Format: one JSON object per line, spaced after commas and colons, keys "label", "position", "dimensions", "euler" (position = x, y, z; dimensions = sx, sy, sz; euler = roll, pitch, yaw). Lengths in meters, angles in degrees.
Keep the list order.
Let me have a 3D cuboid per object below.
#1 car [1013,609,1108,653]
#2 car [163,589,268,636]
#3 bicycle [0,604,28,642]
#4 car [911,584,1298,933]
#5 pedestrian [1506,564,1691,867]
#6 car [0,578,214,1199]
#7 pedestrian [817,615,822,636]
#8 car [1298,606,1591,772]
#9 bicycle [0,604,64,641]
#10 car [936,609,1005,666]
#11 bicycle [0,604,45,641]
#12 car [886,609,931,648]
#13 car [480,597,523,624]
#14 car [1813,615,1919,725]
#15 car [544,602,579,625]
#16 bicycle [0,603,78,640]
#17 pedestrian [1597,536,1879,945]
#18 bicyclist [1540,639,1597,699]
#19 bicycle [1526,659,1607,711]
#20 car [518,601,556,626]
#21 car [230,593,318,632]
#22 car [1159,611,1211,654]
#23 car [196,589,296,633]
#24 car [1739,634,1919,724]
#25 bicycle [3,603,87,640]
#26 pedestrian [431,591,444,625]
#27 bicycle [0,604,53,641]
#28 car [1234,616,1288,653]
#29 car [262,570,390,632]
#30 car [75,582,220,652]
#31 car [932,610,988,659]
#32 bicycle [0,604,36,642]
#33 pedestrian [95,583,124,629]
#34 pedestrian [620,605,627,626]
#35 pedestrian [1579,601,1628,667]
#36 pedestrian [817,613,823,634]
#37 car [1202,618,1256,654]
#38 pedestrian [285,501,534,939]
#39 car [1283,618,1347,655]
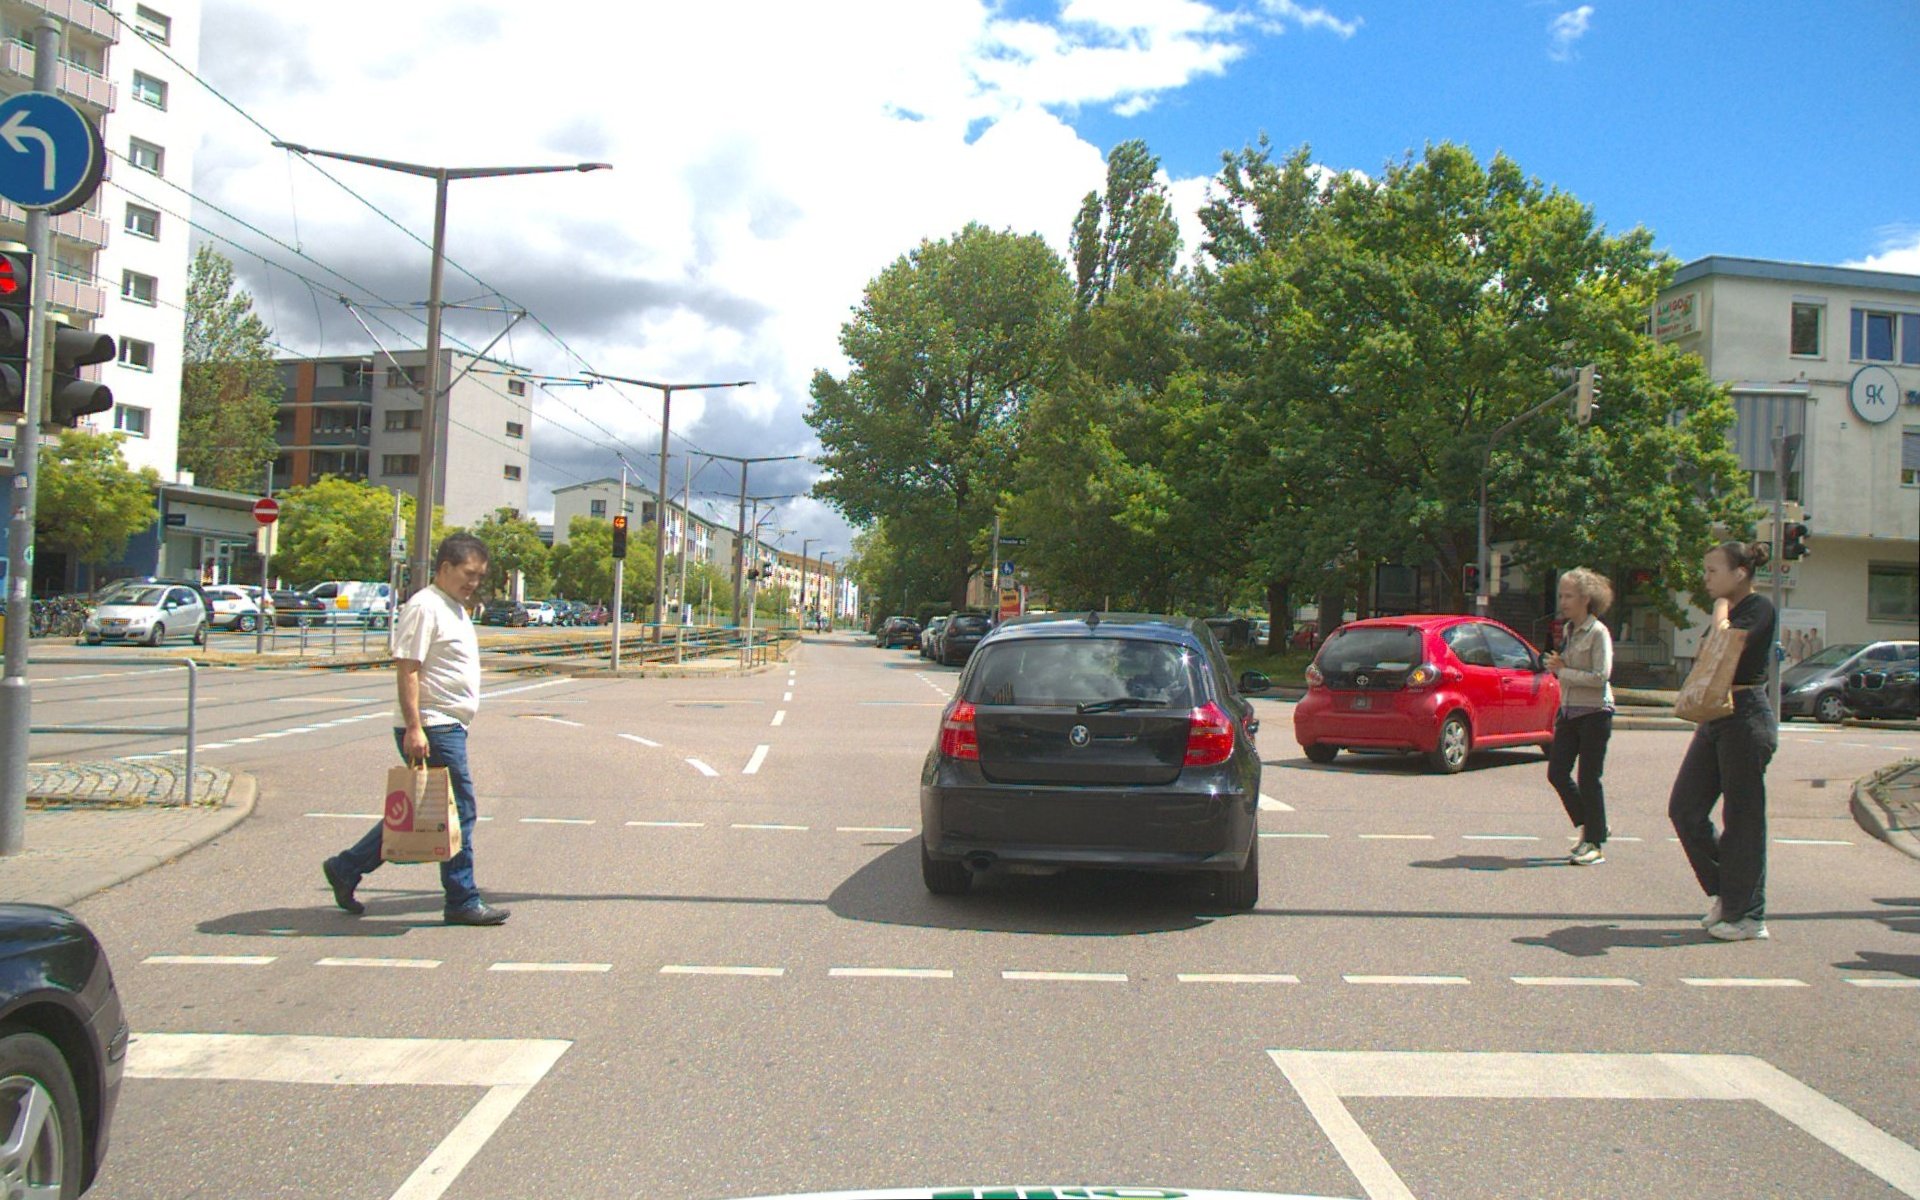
{"label": "car", "position": [4.553, 1.406, 75.000], "dimensions": [3.933, 1.855, 1.766], "euler": [1, 0, -23]}
{"label": "car", "position": [-26.678, 0.443, 59.235], "dimensions": [4.144, 1.597, 1.949], "euler": [1, 0, 43]}
{"label": "bicycle", "position": [-24.719, 0.571, 41.846], "dimensions": [1.909, 0.951, 0.494], "euler": [1, -1, -7]}
{"label": "car", "position": [0.925, 0.706, 9.467], "dimensions": [1.715, 1.513, 4.003], "euler": [1, 0, 8]}
{"label": "pedestrian", "position": [3.777, 0.652, 9.862], "dimensions": [0.932, 1.703, 0.871], "euler": [0, 0, 14]}
{"label": "car", "position": [-2.592, 0.683, 1.595], "dimensions": [1.693, 1.487, 4.543], "euler": [1, 0, -1]}
{"label": "pedestrian", "position": [-11.185, 2.006, 131.544], "dimensions": [0.328, 1.656, 0.356], "euler": [1, 0, -18]}
{"label": "car", "position": [4.919, 0.830, 16.601], "dimensions": [1.521, 1.466, 3.174], "euler": [1, 0, 44]}
{"label": "bicycle", "position": [-24.879, 0.580, 43.836], "dimensions": [1.909, 0.951, 0.494], "euler": [1, -1, -7]}
{"label": "car", "position": [0.313, 1.204, 53.427], "dimensions": [2.108, 1.713, 3.999], "euler": [1, -1, -1]}
{"label": "bicycle", "position": [-24.823, 0.575, 42.815], "dimensions": [1.909, 0.951, 0.494], "euler": [1, -1, -7]}
{"label": "car", "position": [-2.342, 1.286, 76.195], "dimensions": [1.953, 1.713, 3.999], "euler": [1, 0, -1]}
{"label": "car", "position": [-25.582, 0.581, 92.397], "dimensions": [1.728, 1.419, 3.994], "euler": [1, 0, -7]}
{"label": "car", "position": [17.084, 1.184, 27.881], "dimensions": [4.472, 1.747, 1.997], "euler": [1, 0, -8]}
{"label": "car", "position": [-25.584, 0.871, 106.380], "dimensions": [1.728, 1.419, 3.994], "euler": [1, 0, -7]}
{"label": "bicycle", "position": [-24.781, 0.584, 44.383], "dimensions": [1.909, 0.951, 0.494], "euler": [1, -1, -7]}
{"label": "pedestrian", "position": [3.614, 0.615, 7.732], "dimensions": [0.917, 1.796, 0.770], "euler": [0, 0, -12]}
{"label": "bicyclist", "position": [11.064, 1.247, 30.079], "dimensions": [0.775, 1.040, 0.636], "euler": [2, 0, -1]}
{"label": "bicycle", "position": [11.058, 1.545, 30.224], "dimensions": [0.775, 0.833, 1.807], "euler": [2, 0, -1]}
{"label": "car", "position": [-25.501, 0.798, 99.789], "dimensions": [1.728, 1.419, 3.994], "euler": [1, 0, -7]}
{"label": "car", "position": [-27.239, 0.484, 65.606], "dimensions": [1.777, 1.445, 4.148], "euler": [1, 0, -45]}
{"label": "car", "position": [10.344, 1.481, 76.169], "dimensions": [1.598, 1.842, 4.029], "euler": [1, 0, -4]}
{"label": "car", "position": [-26.985, 0.420, 62.477], "dimensions": [4.144, 1.564, 1.949], "euler": [1, 0, 43]}
{"label": "car", "position": [17.231, 1.490, 31.605], "dimensions": [3.838, 1.583, 1.994], "euler": [1, 0, -12]}
{"label": "bicycle", "position": [-24.824, 0.587, 44.884], "dimensions": [1.909, 0.951, 0.494], "euler": [1, -1, -7]}
{"label": "pedestrian", "position": [-26.766, 0.403, 84.766], "dimensions": [0.537, 1.746, 0.667], "euler": [1, 0, -11]}
{"label": "bicycle", "position": [-24.868, 0.577, 43.290], "dimensions": [1.909, 0.951, 0.494], "euler": [1, -1, -7]}
{"label": "car", "position": [14.222, 1.626, 78.313], "dimensions": [1.598, 1.623, 3.997], "euler": [1, 0, -4]}
{"label": "car", "position": [-27.172, 0.019, 70.737], "dimensions": [2.810, 2.522, 6.614], "euler": [1, 0, -44]}
{"label": "car", "position": [-21.268, 0.432, 43.467], "dimensions": [1.898, 1.722, 3.872], "euler": [1, 0, -1]}
{"label": "car", "position": [-0.030, 1.269, 60.869], "dimensions": [1.953, 1.713, 3.999], "euler": [1, -1, -1]}
{"label": "bicycle", "position": [-24.776, 0.573, 42.310], "dimensions": [1.909, 0.951, 0.494], "euler": [1, -1, -7]}
{"label": "pedestrian", "position": [-30.284, 0.213, 58.917], "dimensions": [0.755, 1.643, 0.695], "euler": [1, 0, -17]}
{"label": "pedestrian", "position": [-26.746, 1.244, 131.408], "dimensions": [0.444, 1.665, 0.480], "euler": [1, 0, -3]}
{"label": "pedestrian", "position": [16.530, 0.865, 42.504], "dimensions": [0.756, 1.672, 0.903], "euler": [2, 0, -16]}
{"label": "pedestrian", "position": [-11.134, 1.867, 131.515], "dimensions": [0.469, 1.665, 0.454], "euler": [1, 0, -2]}
{"label": "car", "position": [12.494, 1.653, 76.933], "dimensions": [1.598, 1.600, 4.029], "euler": [1, 0, -4]}
{"label": "pedestrian", "position": [-2.424, 0.512, 7.373], "dimensions": [0.851, 1.839, 0.741], "euler": [1, 0, -5]}
{"label": "car", "position": [16.901, 1.721, 78.836], "dimensions": [1.698, 1.623, 3.993], "euler": [1, 0, -8]}
